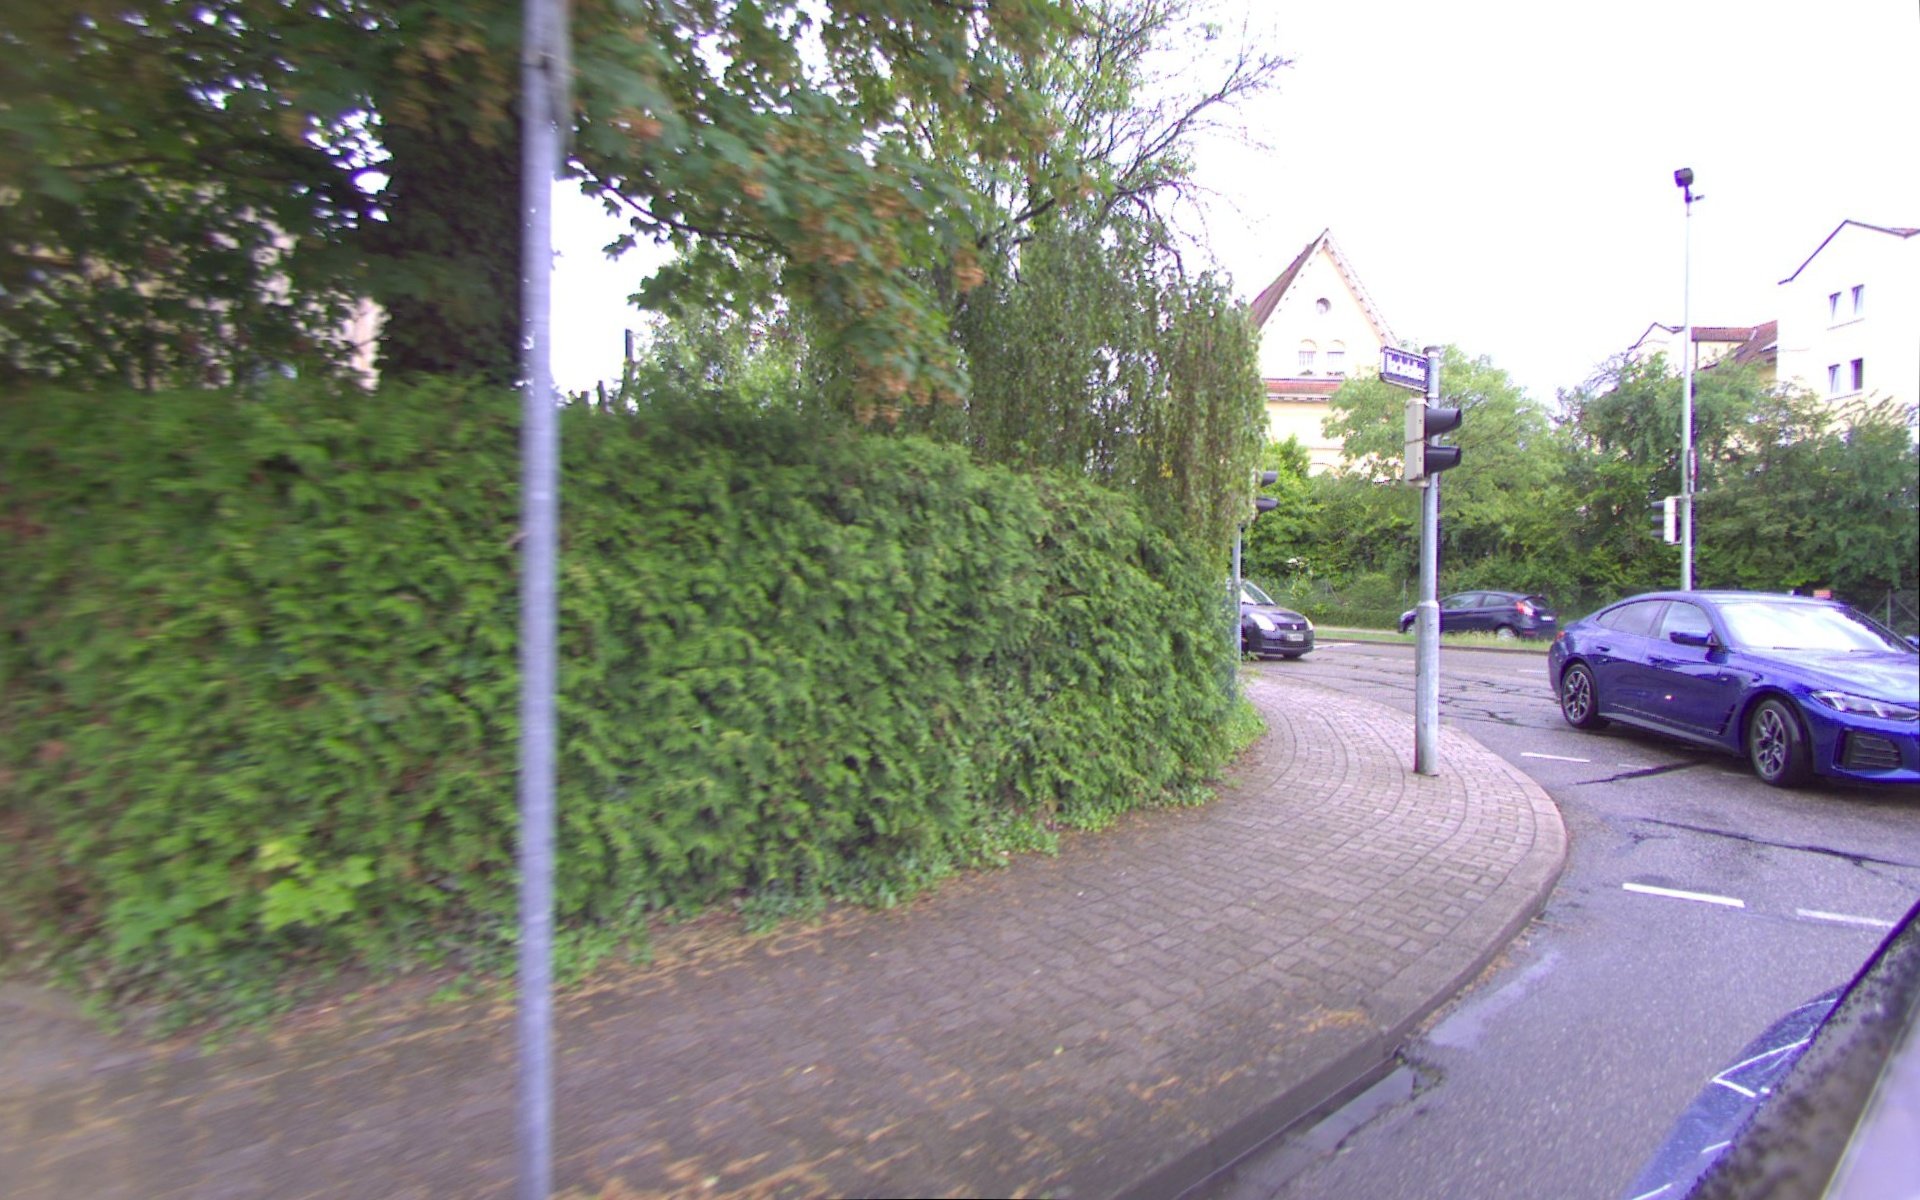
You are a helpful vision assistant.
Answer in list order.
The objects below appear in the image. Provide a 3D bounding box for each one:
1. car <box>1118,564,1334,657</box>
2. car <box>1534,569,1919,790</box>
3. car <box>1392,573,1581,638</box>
[{"bbox_3d":[4.942,0.145,19.346,1.712,1.538,4.005,-2,1,-28],"label":"car"},{"bbox_3d":[7.308,0.507,9.286,1.881,1.514,4.344,-1,2,5],"label":"car"},{"bbox_3d":[13.744,0.073,26.622,1.889,1.519,4.003,-1,2,-33],"label":"car"}]
